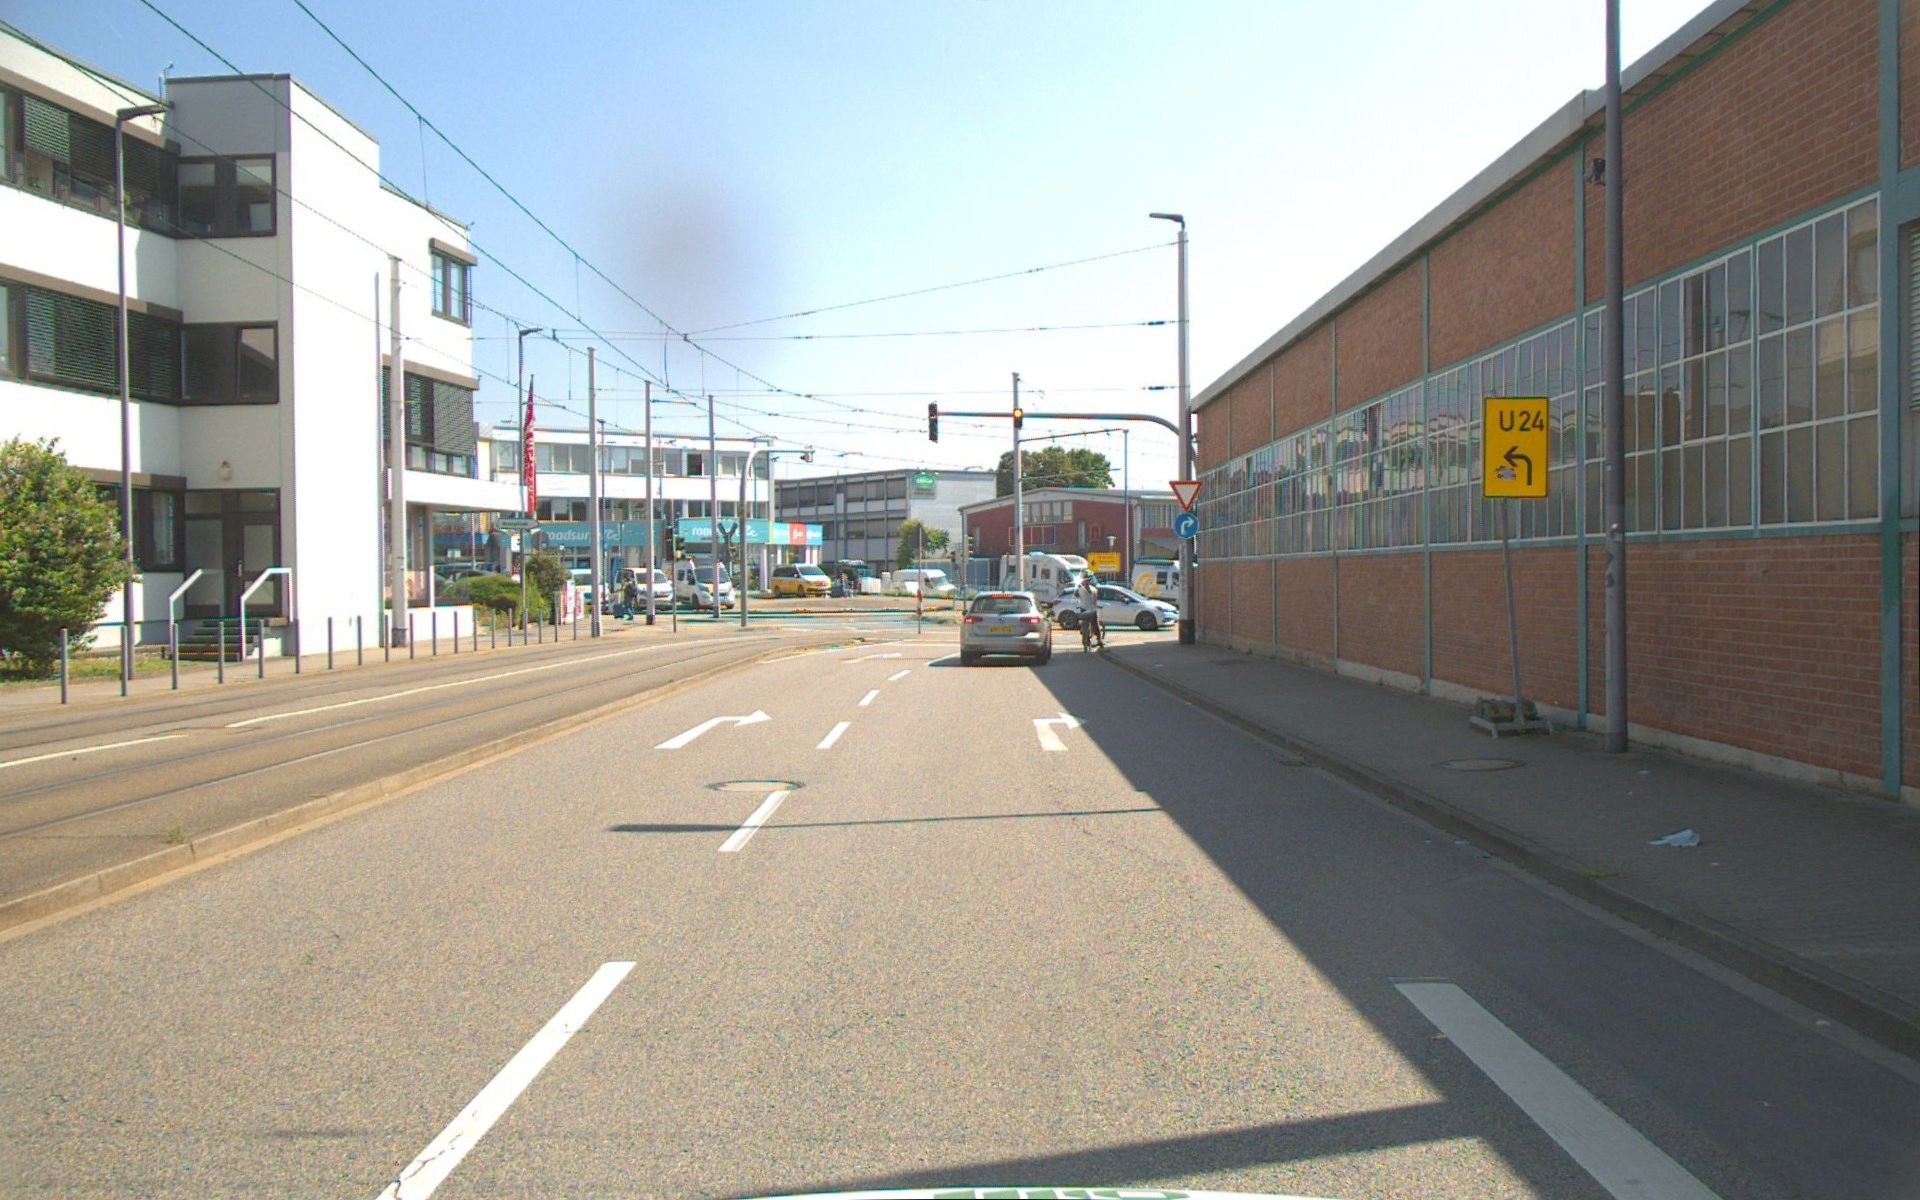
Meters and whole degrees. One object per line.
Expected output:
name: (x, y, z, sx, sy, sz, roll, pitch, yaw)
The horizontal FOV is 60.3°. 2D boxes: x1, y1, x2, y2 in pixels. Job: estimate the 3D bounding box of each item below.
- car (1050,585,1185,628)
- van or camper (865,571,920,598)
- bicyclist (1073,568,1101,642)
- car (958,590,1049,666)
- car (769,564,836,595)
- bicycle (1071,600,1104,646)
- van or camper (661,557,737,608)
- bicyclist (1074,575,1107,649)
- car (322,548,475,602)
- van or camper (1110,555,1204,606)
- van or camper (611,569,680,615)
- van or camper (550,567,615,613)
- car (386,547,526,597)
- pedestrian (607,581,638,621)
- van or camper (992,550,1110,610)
car: (5.224, 0.210, 54.792, 4.104, 1.399, 1.803, 0, 0, 20)
van or camper: (-5.101, -1.148, 124.184, 3.933, 1.982, 1.986, 0, 1, 45)
bicyclist: (3.189, 0.119, 41.551, 0.693, 1.842, 0.983, 0, 0, 3)
car: (0.962, 0.541, 34.840, 1.709, 1.484, 4.002, -1, 0, 4)
car: (-9.411, -1.218, 98.343, 1.920, 1.790, 5.065, -1, 1, -32)
bicycle: (3.050, 0.533, 39.626, 0.777, 1.039, 2.152, 0, 1, 4)
van or camper: (-13.368, -0.929, 84.470, 2.009, 2.336, 5.757, -2, 3, -29)
bicyclist: (3.102, 0.272, 39.461, 0.769, 1.752, 1.147, 0, 0, 4)
car: (-17.028, -0.755, 50.273, 3.903, 1.590, 2.001, 0, 0, 3)
van or camper: (10.900, -1.144, 91.911, 2.264, 2.482, 5.321, -2, 5, -35)
van or camper: (-15.833, -0.452, 83.024, 1.972, 2.048, 4.963, -2, 3, -29)
van or camper: (-18.912, -0.538, 82.737, 1.972, 2.048, 4.717, -2, 3, -29)
car: (-16.451, -0.922, 54.109, 3.903, 1.545, 2.002, 0, 3, 3)
pedestrian: (-12.714, 0.046, 62.325, 1.109, 1.480, 0.836, -1, 0, -9)
van or camper: (4.888, -1.157, 90.063, 2.333, 2.981, 6.883, -2, 4, -41)
